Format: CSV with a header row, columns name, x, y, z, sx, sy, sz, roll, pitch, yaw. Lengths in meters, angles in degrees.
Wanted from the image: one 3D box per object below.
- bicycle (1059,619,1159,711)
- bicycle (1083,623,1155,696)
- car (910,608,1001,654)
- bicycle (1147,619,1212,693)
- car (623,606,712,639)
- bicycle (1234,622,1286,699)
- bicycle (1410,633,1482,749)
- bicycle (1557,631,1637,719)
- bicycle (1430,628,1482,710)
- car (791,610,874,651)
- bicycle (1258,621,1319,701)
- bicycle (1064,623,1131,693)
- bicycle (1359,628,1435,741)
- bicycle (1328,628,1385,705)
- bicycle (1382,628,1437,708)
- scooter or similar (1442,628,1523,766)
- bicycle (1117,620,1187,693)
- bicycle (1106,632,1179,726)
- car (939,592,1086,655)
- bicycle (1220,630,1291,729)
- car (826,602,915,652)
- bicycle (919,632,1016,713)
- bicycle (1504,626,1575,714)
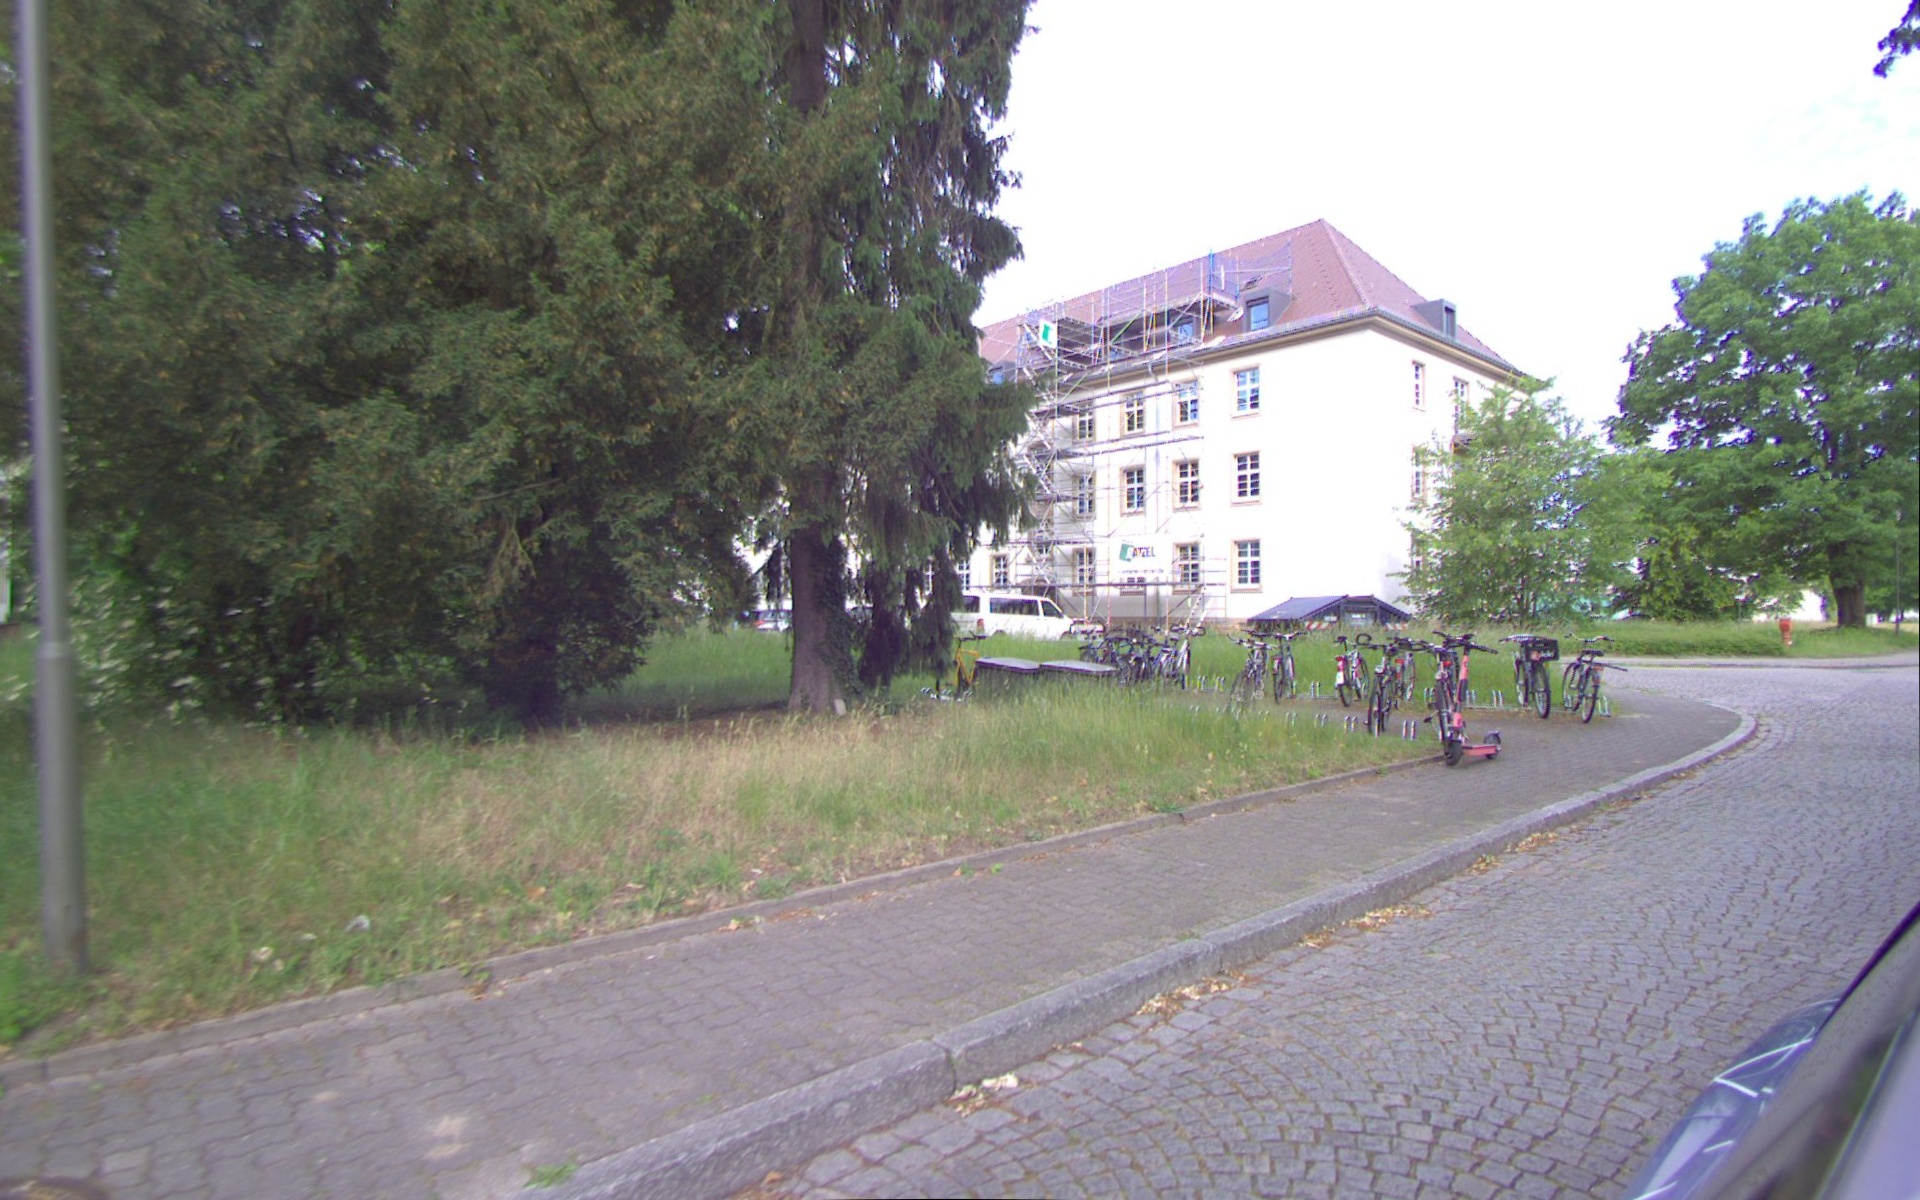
name,x,y,z,sx,sy,sz,roll,pitch,yaw
bicycle,2.123,0.882,14.269,0.549,1.186,1.728,-2,-1,40
bicycle,2.687,0.972,16.988,0.440,1.126,1.629,-2,-1,38
car,-0.131,1.079,36.393,3.193,1.546,1.309,0,-1,-42
bicycle,3.630,0.887,16.647,0.474,1.126,1.745,-2,-1,32
car,-15.944,1.205,55.292,4.467,1.669,1.465,0,-1,-42
bicycle,4.753,0.919,15.987,0.473,1.126,1.749,-2,-1,26
bicycle,5.386,0.953,11.172,0.547,1.129,1.750,-2,-1,30
bicycle,8.419,0.968,13.427,0.471,1.020,1.614,-2,0,17
bicycle,7.023,0.940,14.298,0.474,1.020,1.649,-2,0,32
car,-5.201,1.239,41.565,3.193,1.585,1.328,0,-1,-42
bicycle,5.071,0.905,15.555,0.474,1.126,1.745,-2,-1,32
bicycle,2.402,0.982,17.537,0.474,1.126,1.745,-2,-1,32
bicycle,4.940,0.902,11.380,0.547,1.129,1.785,-2,-1,30
bicycle,5.977,0.973,15.217,0.474,1.020,1.649,-2,0,32
bicycle,6.543,0.954,14.688,0.474,1.020,1.649,-2,0,32
scooter or similar,5.032,0.895,9.729,0.356,1.225,1.119,-2,-2,44
bicycle,3.202,0.909,16.793,0.440,1.126,1.629,-2,-1,38
bicycle,2.374,0.980,13.033,0.545,1.079,1.740,-1,-1,23
car,1.890,0.774,34.929,5.186,2.022,1.964,0,-1,-42
bicycle,3.632,0.927,12.348,0.611,1.079,1.811,-1,-1,23
car,-3.510,1.039,40.004,3.193,1.867,1.601,0,-1,-42
bicycle,0.133,0.998,14.422,0.547,1.055,1.662,-2,-1,34
bicycle,7.974,0.937,13.981,0.471,1.087,1.614,-2,0,17
